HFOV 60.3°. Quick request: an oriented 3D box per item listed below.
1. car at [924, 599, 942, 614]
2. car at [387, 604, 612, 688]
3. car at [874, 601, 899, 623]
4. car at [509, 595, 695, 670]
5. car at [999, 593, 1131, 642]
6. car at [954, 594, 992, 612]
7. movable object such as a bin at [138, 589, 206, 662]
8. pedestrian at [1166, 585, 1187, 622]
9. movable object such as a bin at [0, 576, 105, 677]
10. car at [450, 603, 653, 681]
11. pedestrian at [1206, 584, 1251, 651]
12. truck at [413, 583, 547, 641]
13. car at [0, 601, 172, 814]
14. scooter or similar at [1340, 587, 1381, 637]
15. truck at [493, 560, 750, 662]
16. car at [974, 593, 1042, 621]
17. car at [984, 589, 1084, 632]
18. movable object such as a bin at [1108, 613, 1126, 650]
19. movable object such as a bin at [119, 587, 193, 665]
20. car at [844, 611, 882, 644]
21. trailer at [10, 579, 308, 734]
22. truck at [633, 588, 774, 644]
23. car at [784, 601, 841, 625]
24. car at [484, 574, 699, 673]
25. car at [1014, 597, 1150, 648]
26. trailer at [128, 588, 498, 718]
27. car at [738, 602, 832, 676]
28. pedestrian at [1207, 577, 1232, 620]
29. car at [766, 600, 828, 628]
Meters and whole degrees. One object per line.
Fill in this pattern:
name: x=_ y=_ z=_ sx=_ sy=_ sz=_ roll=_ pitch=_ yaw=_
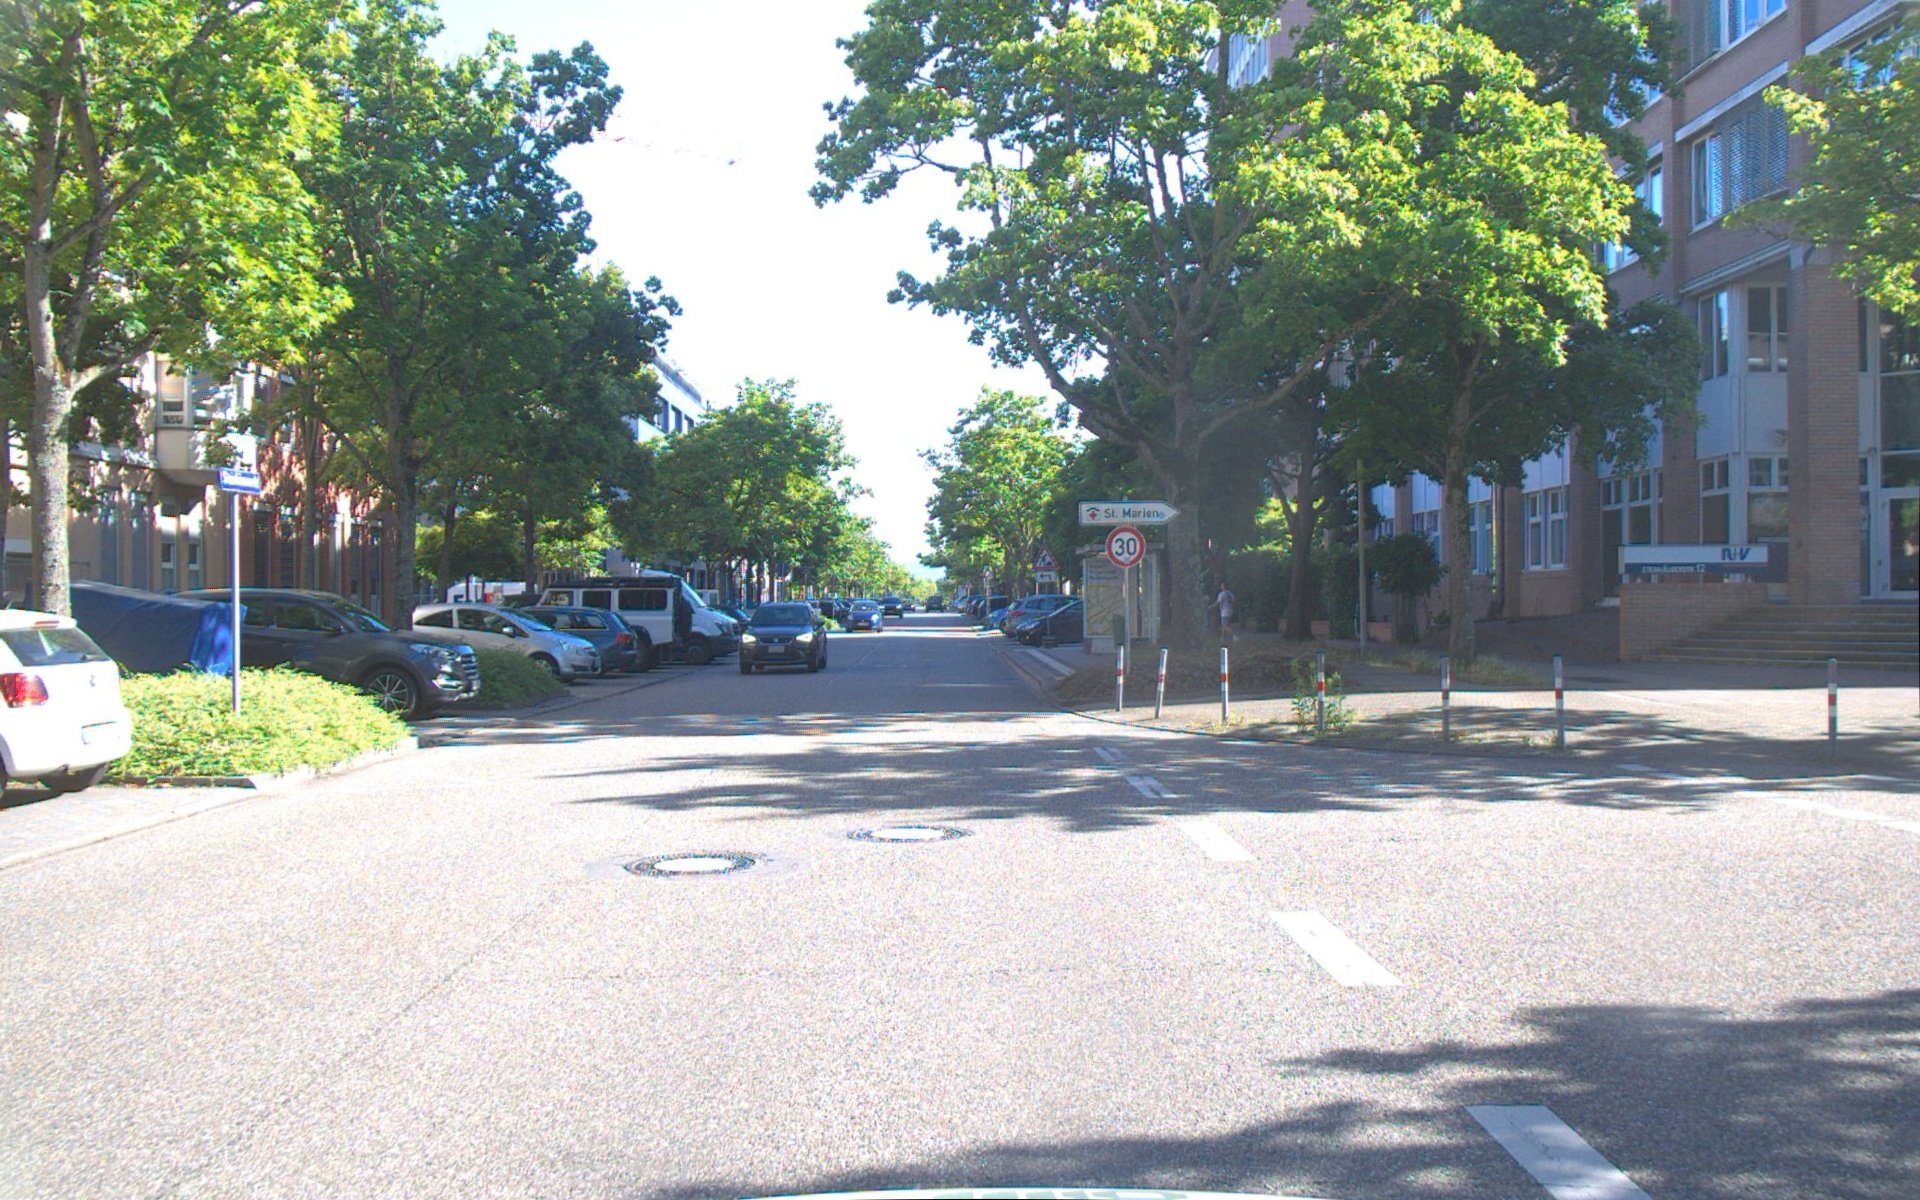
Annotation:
car: x=-3.005 y=0.698 z=184.940 sx=1.894 sy=1.625 sz=4.365 roll=-1 pitch=0 yaw=-1
car: x=-8.713 y=0.851 z=31.482 sx=3.754 sy=1.486 sz=1.733 roll=1 pitch=0 yaw=2
car: x=-5.846 y=0.920 z=131.310 sx=1.854 sy=1.713 sz=4.350 roll=-1 pitch=0 yaw=-3
car: x=-8.460 y=0.766 z=39.384 sx=4.025 sy=1.691 sz=1.999 roll=1 pitch=-1 yaw=-3
car: x=3.582 y=0.594 z=56.894 sx=4.269 sy=1.625 sz=1.936 roll=-1 pitch=0 yaw=-7
car: x=1.413 y=0.306 z=177.030 sx=3.910 sy=1.823 sz=1.997 roll=-1 pitch=0 yaw=-6
movable object such as a bin: x=-17.783 y=0.562 z=37.357 sx=1.125 sy=1.590 sz=1.240 roll=-1 pitch=0 yaw=-13
pedestrian: x=8.881 y=0.146 z=67.815 sx=0.686 sy=1.483 sz=0.715 roll=-1 pitch=0 yaw=-4
movable object such as a bin: x=-17.328 y=0.484 z=31.130 sx=1.566 sy=1.828 sz=1.664 roll=-1 pitch=0 yaw=1
car: x=-8.390 y=0.845 z=34.217 sx=3.700 sy=1.518 sz=1.833 roll=1 pitch=0 yaw=0
pedestrian: x=7.259 y=0.469 z=44.696 sx=0.902 sy=1.740 sz=0.695 roll=-4 pitch=1 yaw=-14
truck: x=-24.077 y=0.574 z=83.133 sx=5.982 sy=2.752 sz=2.576 roll=-1 pitch=0 yaw=-3
car: x=-8.269 y=0.737 z=12.562 sx=3.677 sy=1.478 sz=1.754 roll=1 pitch=0 yaw=0
scooter or similar: x=11.074 y=0.336 z=45.762 sx=0.538 sy=1.349 sz=1.803 roll=1 pitch=0 yaw=-6
truck: x=-8.586 y=0.273 z=42.414 sx=6.105 sy=2.464 sz=2.187 roll=-1 pitch=0 yaw=-1
car: x=3.052 y=0.454 z=105.514 sx=4.183 sy=1.662 sz=1.857 roll=-2 pitch=0 yaw=-4
car: x=3.350 y=0.466 z=75.414 sx=4.317 sy=1.646 sz=1.911 roll=-4 pitch=0 yaw=-2
movable object such as a bin: x=3.318 y=0.662 z=34.981 sx=0.292 sy=0.767 sz=0.467 roll=-3 pitch=-1 yaw=-1
movable object such as a bin: x=-17.511 y=0.558 z=36.073 sx=1.125 sy=1.648 sz=1.437 roll=-1 pitch=0 yaw=-13
car: x=-4.546 y=1.273 z=78.256 sx=1.610 sy=1.445 sz=3.999 roll=-1 pitch=0 yaw=-1
trailer: x=-9.418 y=0.637 z=19.605 sx=2.669 sy=1.717 sz=1.712 roll=1 pitch=0 yaw=-1
truck: x=-9.513 y=0.584 z=61.615 sx=4.882 sy=1.993 sz=2.138 roll=-1 pitch=0 yaw=1
car: x=-9.809 y=0.853 z=109.847 sx=3.657 sy=1.489 sz=1.676 roll=-1 pitch=0 yaw=-2
car: x=-8.193 y=0.527 z=37.130 sx=4.392 sy=2.087 sz=1.999 roll=1 pitch=-1 yaw=-3
car: x=3.633 y=0.663 z=49.653 sx=3.856 sy=1.464 sz=1.773 roll=-1 pitch=0 yaw=-3
trailer: x=-8.462 y=0.680 z=21.954 sx=4.177 sy=1.599 sz=1.854 roll=1 pitch=0 yaw=-5
car: x=-3.887 y=0.835 z=37.267 sx=1.743 sy=1.538 sz=3.999 roll=-1 pitch=0 yaw=-1
pedestrian: x=10.844 y=-0.076 z=69.129 sx=0.684 sy=1.740 sz=0.918 roll=-4 pitch=1 yaw=-12
car: x=-9.487 y=0.823 z=96.282 sx=3.509 sy=1.577 sz=1.636 roll=0 pitch=-3 yaw=-4
